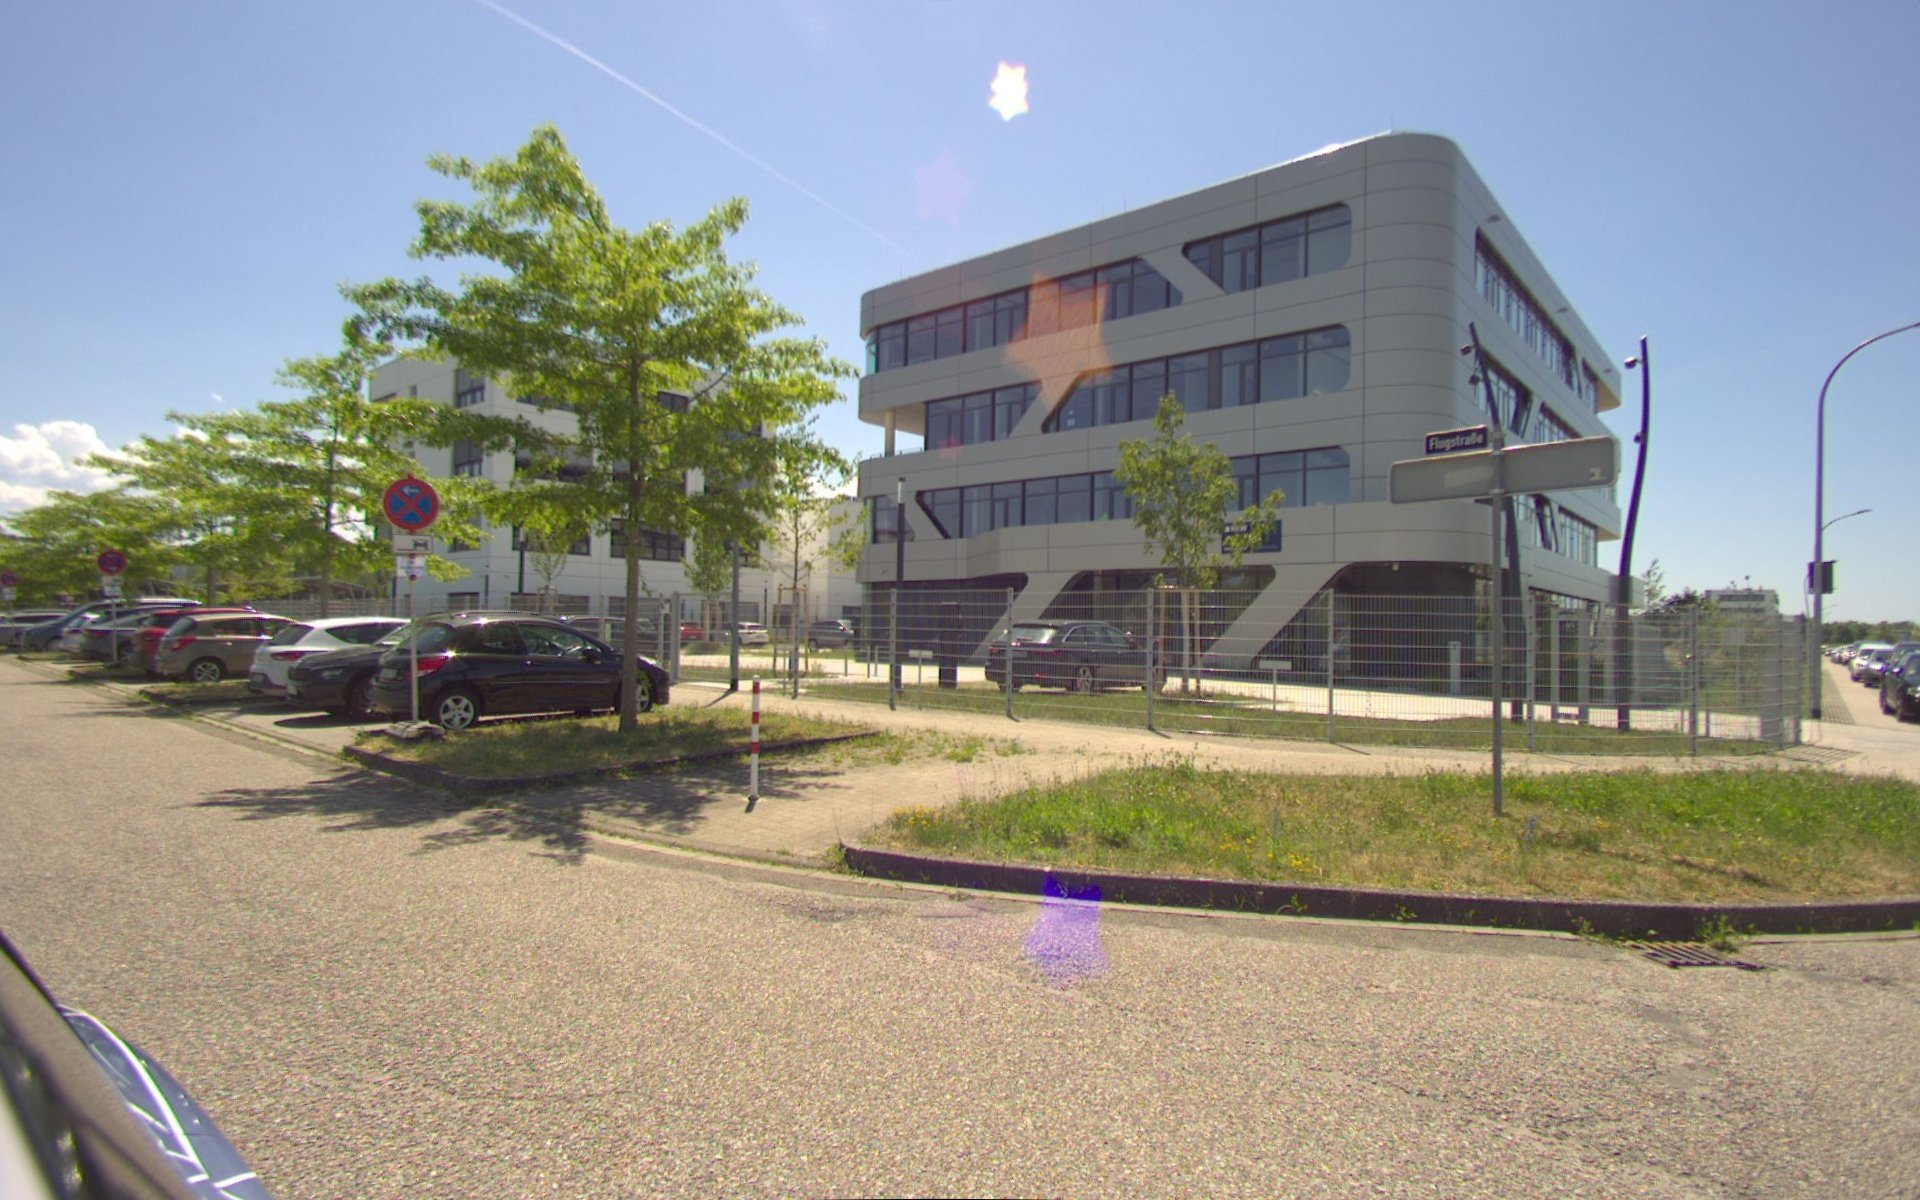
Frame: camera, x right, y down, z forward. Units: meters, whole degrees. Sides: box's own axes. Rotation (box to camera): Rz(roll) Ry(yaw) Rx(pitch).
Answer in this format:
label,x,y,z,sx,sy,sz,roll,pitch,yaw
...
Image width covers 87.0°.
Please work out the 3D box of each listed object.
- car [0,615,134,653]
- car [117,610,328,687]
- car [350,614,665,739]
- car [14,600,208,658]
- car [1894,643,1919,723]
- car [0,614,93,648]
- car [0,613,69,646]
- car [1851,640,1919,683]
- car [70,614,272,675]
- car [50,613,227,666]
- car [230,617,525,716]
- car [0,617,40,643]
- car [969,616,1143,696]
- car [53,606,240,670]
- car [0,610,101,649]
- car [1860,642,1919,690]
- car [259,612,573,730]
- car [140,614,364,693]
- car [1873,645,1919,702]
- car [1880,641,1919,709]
label,x,y,z,sx,sy,sz,roll,pitch,yaw
car,-37.030,1.360,41.481,1.856,1.458,4.665,-2,-1,40
car,-17.056,1.061,23.523,1.816,1.634,3.697,-1,-1,42
car,-6.108,0.933,13.936,1.725,1.446,3.587,-1,0,41
car,-29.635,0.977,35.466,1.997,1.906,5.014,-1,-1,43
car,20.470,1.708,20.436,1.998,1.552,3.949,2,-1,38
car,-45.065,1.506,49.325,1.807,1.524,4.126,-3,-2,43
car,-47.490,1.493,50.883,1.726,1.604,3.800,-2,-1,39
car,37.575,2.477,40.926,1.998,1.552,3.949,2,-1,38
car,-21.536,1.154,27.751,1.712,1.491,4.148,-1,0,42
car,-25.271,1.175,31.242,1.602,1.472,3.998,-1,0,39
car,-9.903,1.034,17.465,1.871,1.435,4.037,-1,0,38
car,-55.888,1.740,58.777,1.726,1.452,3.468,-2,-1,41
car,1.933,1.085,19.583,1.677,1.401,3.443,-1,-4,41
car,-23.676,1.051,29.571,1.774,1.691,3.951,-1,0,36
car,-40.745,1.285,44.761,1.728,1.647,4.072,-2,-1,43
car,33.476,2.345,35.906,1.998,1.552,3.949,2,-1,38
car,-8.220,0.974,15.545,1.784,1.532,3.887,-1,0,41
car,-15.161,1.075,21.807,1.729,1.520,3.622,-1,-1,38
car,28.231,2.152,29.543,1.998,1.552,3.949,2,-1,38
car,24.062,1.861,24.727,1.998,1.552,3.949,2,-1,38
